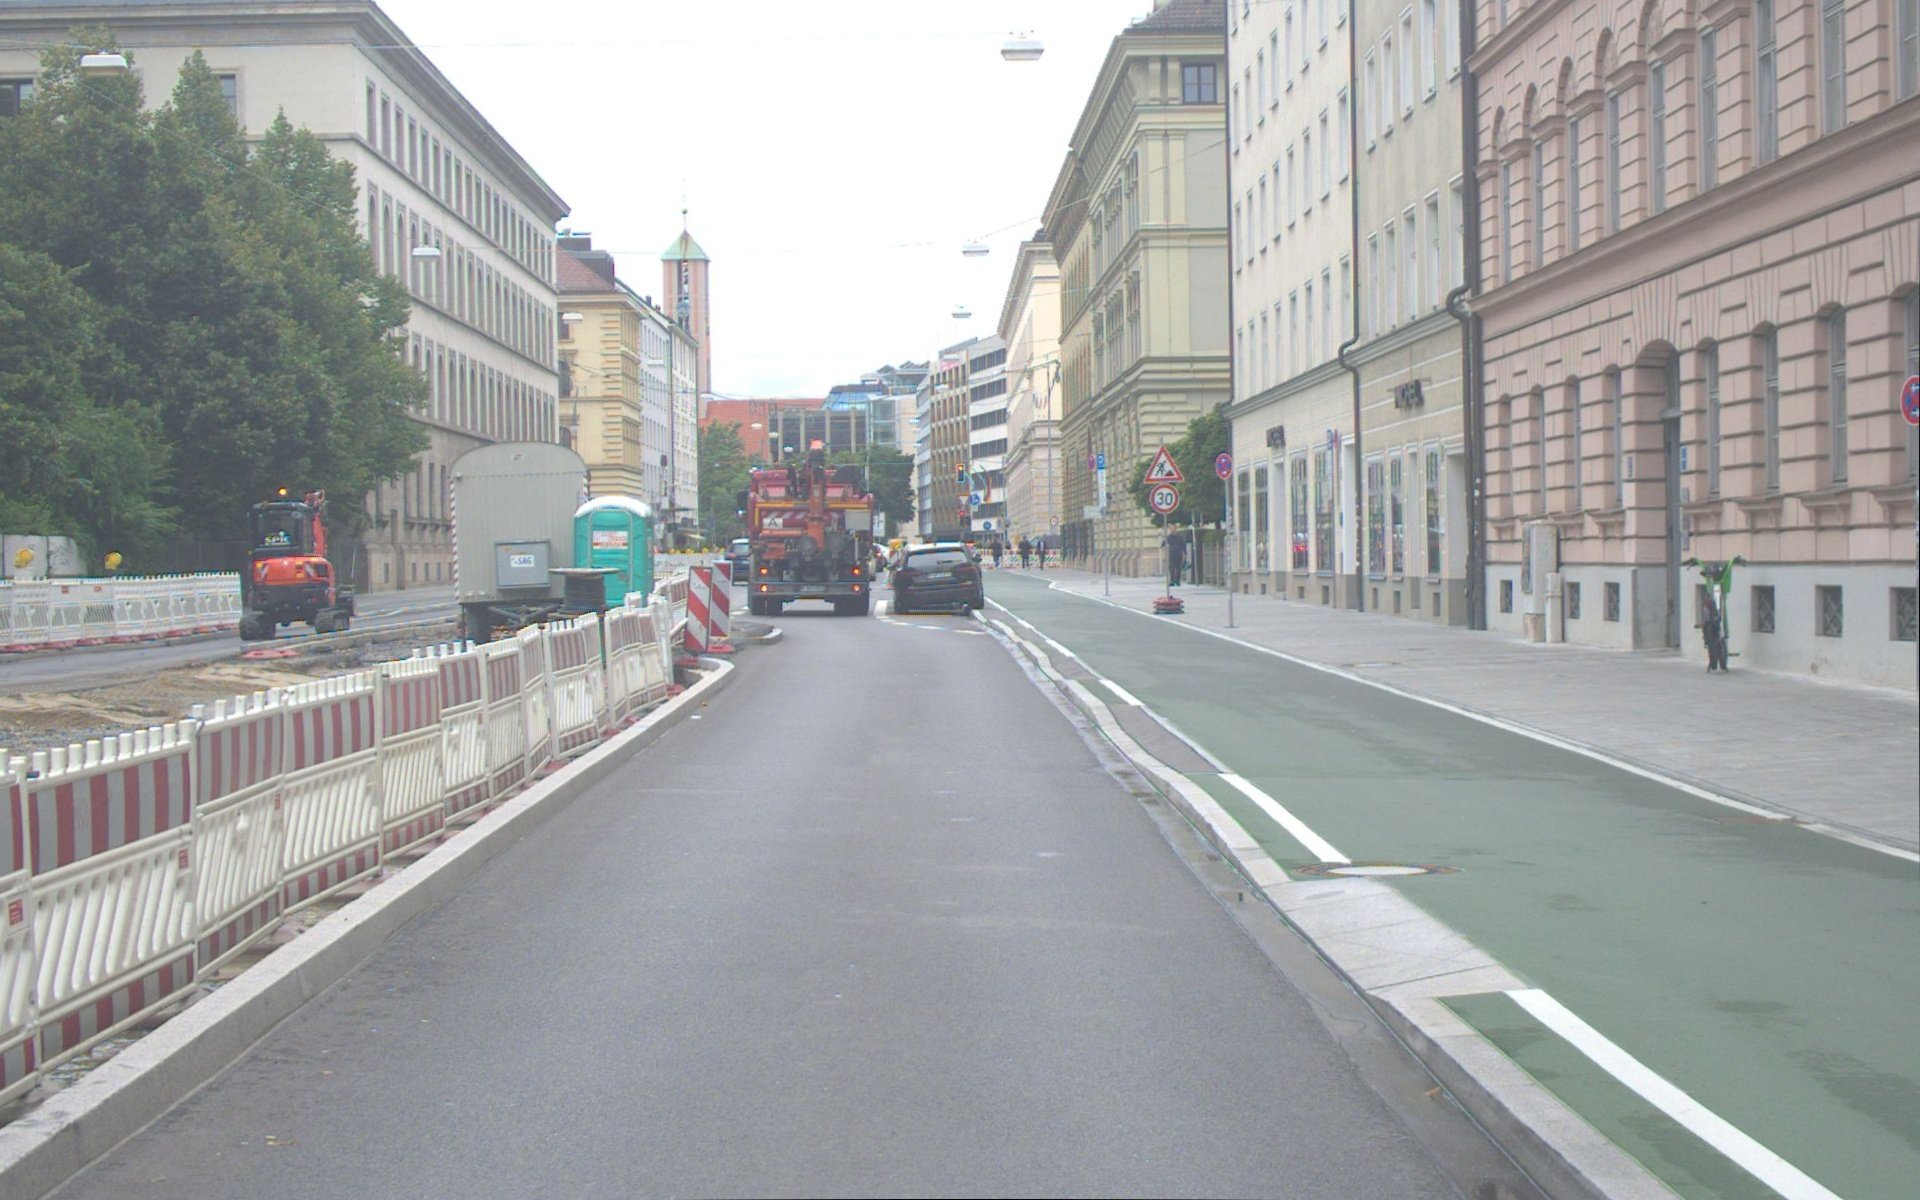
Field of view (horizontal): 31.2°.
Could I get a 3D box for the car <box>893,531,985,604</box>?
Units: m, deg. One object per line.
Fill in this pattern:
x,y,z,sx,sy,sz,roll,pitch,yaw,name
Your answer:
-0.483,-0.725,73.957,1.801,1.475,4.687,-1,1,-2,car

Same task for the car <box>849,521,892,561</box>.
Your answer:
-3.445,-2.287,132.797,1.610,1.490,3.425,0,1,-1,car

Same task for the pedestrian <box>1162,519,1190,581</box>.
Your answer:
6.482,-1.505,103.238,0.790,1.830,0.777,-1,1,0,pedestrian

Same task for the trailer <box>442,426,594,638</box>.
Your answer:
-7.210,-1.120,56.761,2.226,3.232,7.521,-1,1,-6,trailer

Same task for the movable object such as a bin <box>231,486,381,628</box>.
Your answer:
-12.208,-0.839,64.475,1.924,2.563,4.493,0,1,0,movable object such as a bin

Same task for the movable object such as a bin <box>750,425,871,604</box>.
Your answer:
-3.128,-1.786,72.527,2.423,3.599,5.852,0,1,-2,movable object such as a bin

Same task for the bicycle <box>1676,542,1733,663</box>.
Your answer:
7.500,0.013,34.601,0.426,1.170,1.730,-1,1,16,bicycle
